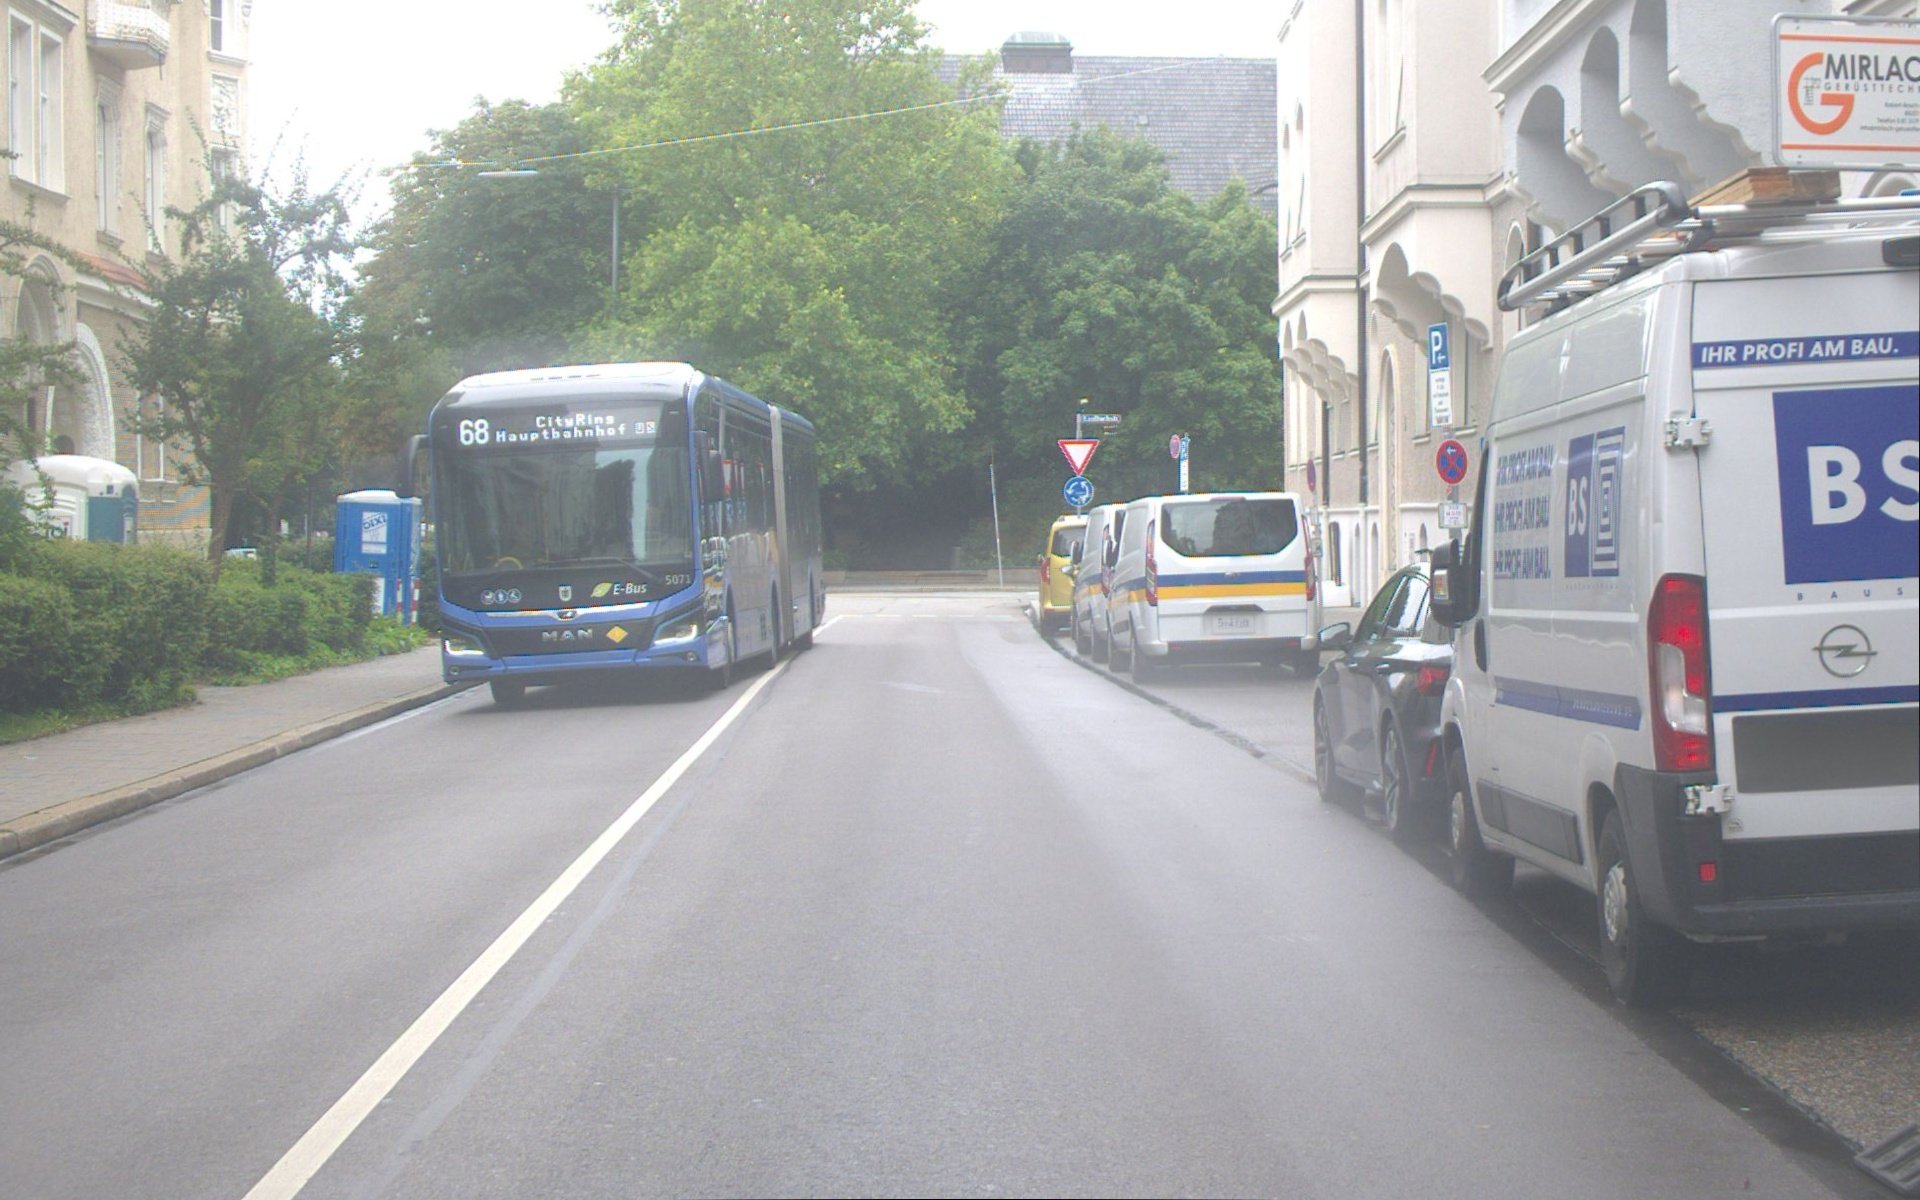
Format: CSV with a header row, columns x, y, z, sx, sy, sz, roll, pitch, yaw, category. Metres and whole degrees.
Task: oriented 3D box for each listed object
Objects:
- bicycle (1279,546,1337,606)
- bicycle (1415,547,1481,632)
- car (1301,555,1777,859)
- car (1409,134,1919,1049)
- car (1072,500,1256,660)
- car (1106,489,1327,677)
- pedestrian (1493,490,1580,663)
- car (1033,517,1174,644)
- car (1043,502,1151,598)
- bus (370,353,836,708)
x,y,z,sx,sy,sz,roll,pitch,yaw,category
6.990,-0.494,69.181,0.839,1.109,2.757,-4,1,0,bicycle
6.700,-0.157,47.301,0.666,1.129,1.722,-1,1,0,bicycle
2.968,0.481,18.475,1.788,1.403,4.245,-1,1,-1,car
3.097,-0.094,12.883,2.077,2.679,5.445,-2,1,1,car
2.536,-0.285,43.861,1.993,1.911,4.886,-1,1,-1,car
2.734,-0.222,37.714,1.993,1.911,4.878,-1,1,-1,car
6.406,-0.262,38.207,0.852,1.896,0.746,-1,1,3,pedestrian
2.239,-0.340,54.735,1.993,1.911,4.571,-1,1,-1,car
2.877,-1.076,73.225,1.938,1.915,5.375,-2,1,-1,car
-3.654,-0.820,41.081,3.171,3.201,18.058,-2,1,1,bus
